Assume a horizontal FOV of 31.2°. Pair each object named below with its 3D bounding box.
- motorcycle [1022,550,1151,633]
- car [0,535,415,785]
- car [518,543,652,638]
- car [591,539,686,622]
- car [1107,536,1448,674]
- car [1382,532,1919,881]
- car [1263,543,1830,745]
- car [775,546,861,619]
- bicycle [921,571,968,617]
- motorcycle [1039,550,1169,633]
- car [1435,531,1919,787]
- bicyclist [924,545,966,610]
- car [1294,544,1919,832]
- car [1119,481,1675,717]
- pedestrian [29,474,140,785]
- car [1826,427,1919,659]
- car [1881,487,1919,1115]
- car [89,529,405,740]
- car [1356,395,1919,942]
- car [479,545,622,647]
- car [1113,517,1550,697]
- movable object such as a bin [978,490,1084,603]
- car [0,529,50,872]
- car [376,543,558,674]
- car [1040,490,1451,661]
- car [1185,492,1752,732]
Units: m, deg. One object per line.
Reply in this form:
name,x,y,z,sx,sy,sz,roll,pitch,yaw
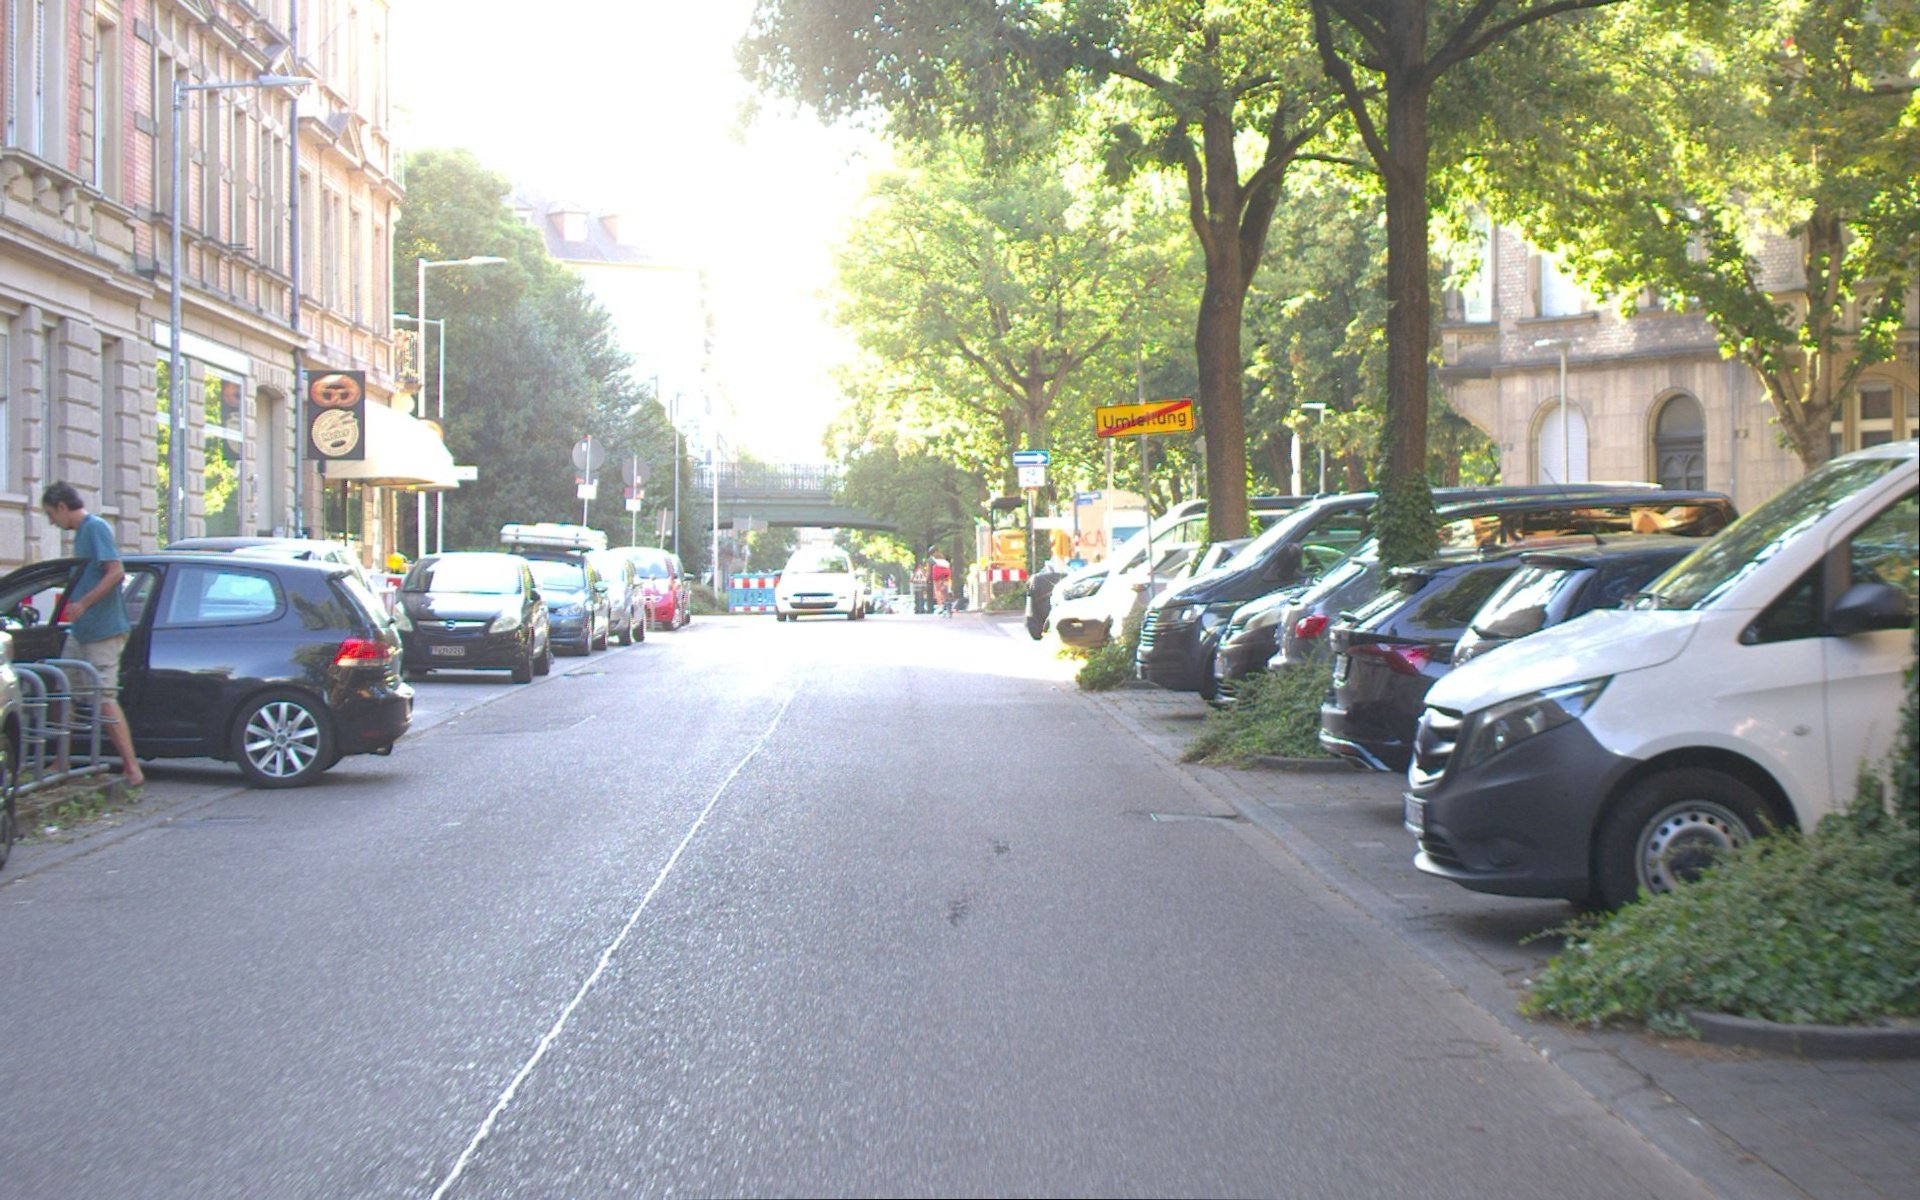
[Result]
motorcycle,2.084,-0.147,56.828,2.023,1.280,0.904,-2,1,-2
car,-5.582,0.360,22.197,3.986,1.524,1.826,-1,1,-7
car,-6.027,-0.180,55.675,1.725,1.432,3.996,2,1,-1
car,-6.146,-0.385,66.007,1.669,1.525,4.001,0,1,-3
car,3.709,0.040,40.584,3.840,1.590,1.741,0,1,-1
car,4.175,0.429,16.198,3.986,1.469,1.782,-2,1,-8
car,4.281,0.305,25.612,3.987,1.443,1.890,0,1,4
car,-2.989,-0.388,72.973,1.749,1.504,4.000,0,1,-1
bicycle,-0.337,-0.137,74.742,0.803,0.965,2.109,1,1,-6
motorcycle,2.296,-0.140,54.923,2.014,1.322,0.621,0,1,-4
car,5.128,0.328,21.337,4.081,1.492,1.843,0,1,0
bicyclist,-0.330,-0.494,74.649,0.803,1.378,0.985,1,1,-6
car,4.104,0.433,18.677,4.369,1.450,1.934,0,1,0
car,3.817,-0.030,30.568,4.614,2.007,2.000,0,1,-3
pedestrian,-5.372,0.172,21.110,0.638,1.881,0.592,0,1,-14
car,13.081,-0.630,38.883,5.893,2.528,2.380,0,1,-7
car,4.500,0.526,8.600,3.883,1.643,1.725,0,1,-6
car,-5.615,0.220,27.519,1.741,1.562,3.895,0,1,0
car,4.209,0.284,13.249,5.091,1.933,2.158,0,-3,0
car,-5.965,-0.092,50.458,1.764,1.432,4.301,0,1,-2
car,3.556,0.046,33.357,3.986,1.686,1.800,0,1,-2
movable object such as a bin,1.748,-1.284,83.712,1.994,2.690,3.108,0,0,12
car,-5.099,0.454,14.652,1.647,1.569,4.050,3,1,-5
car,-5.728,0.060,40.286,1.703,1.449,4.021,0,1,-2
car,3.539,-0.319,43.358,4.973,2.089,2.106,0,1,-1
car,4.102,0.072,28.167,4.267,1.878,1.940,0,1,-4
